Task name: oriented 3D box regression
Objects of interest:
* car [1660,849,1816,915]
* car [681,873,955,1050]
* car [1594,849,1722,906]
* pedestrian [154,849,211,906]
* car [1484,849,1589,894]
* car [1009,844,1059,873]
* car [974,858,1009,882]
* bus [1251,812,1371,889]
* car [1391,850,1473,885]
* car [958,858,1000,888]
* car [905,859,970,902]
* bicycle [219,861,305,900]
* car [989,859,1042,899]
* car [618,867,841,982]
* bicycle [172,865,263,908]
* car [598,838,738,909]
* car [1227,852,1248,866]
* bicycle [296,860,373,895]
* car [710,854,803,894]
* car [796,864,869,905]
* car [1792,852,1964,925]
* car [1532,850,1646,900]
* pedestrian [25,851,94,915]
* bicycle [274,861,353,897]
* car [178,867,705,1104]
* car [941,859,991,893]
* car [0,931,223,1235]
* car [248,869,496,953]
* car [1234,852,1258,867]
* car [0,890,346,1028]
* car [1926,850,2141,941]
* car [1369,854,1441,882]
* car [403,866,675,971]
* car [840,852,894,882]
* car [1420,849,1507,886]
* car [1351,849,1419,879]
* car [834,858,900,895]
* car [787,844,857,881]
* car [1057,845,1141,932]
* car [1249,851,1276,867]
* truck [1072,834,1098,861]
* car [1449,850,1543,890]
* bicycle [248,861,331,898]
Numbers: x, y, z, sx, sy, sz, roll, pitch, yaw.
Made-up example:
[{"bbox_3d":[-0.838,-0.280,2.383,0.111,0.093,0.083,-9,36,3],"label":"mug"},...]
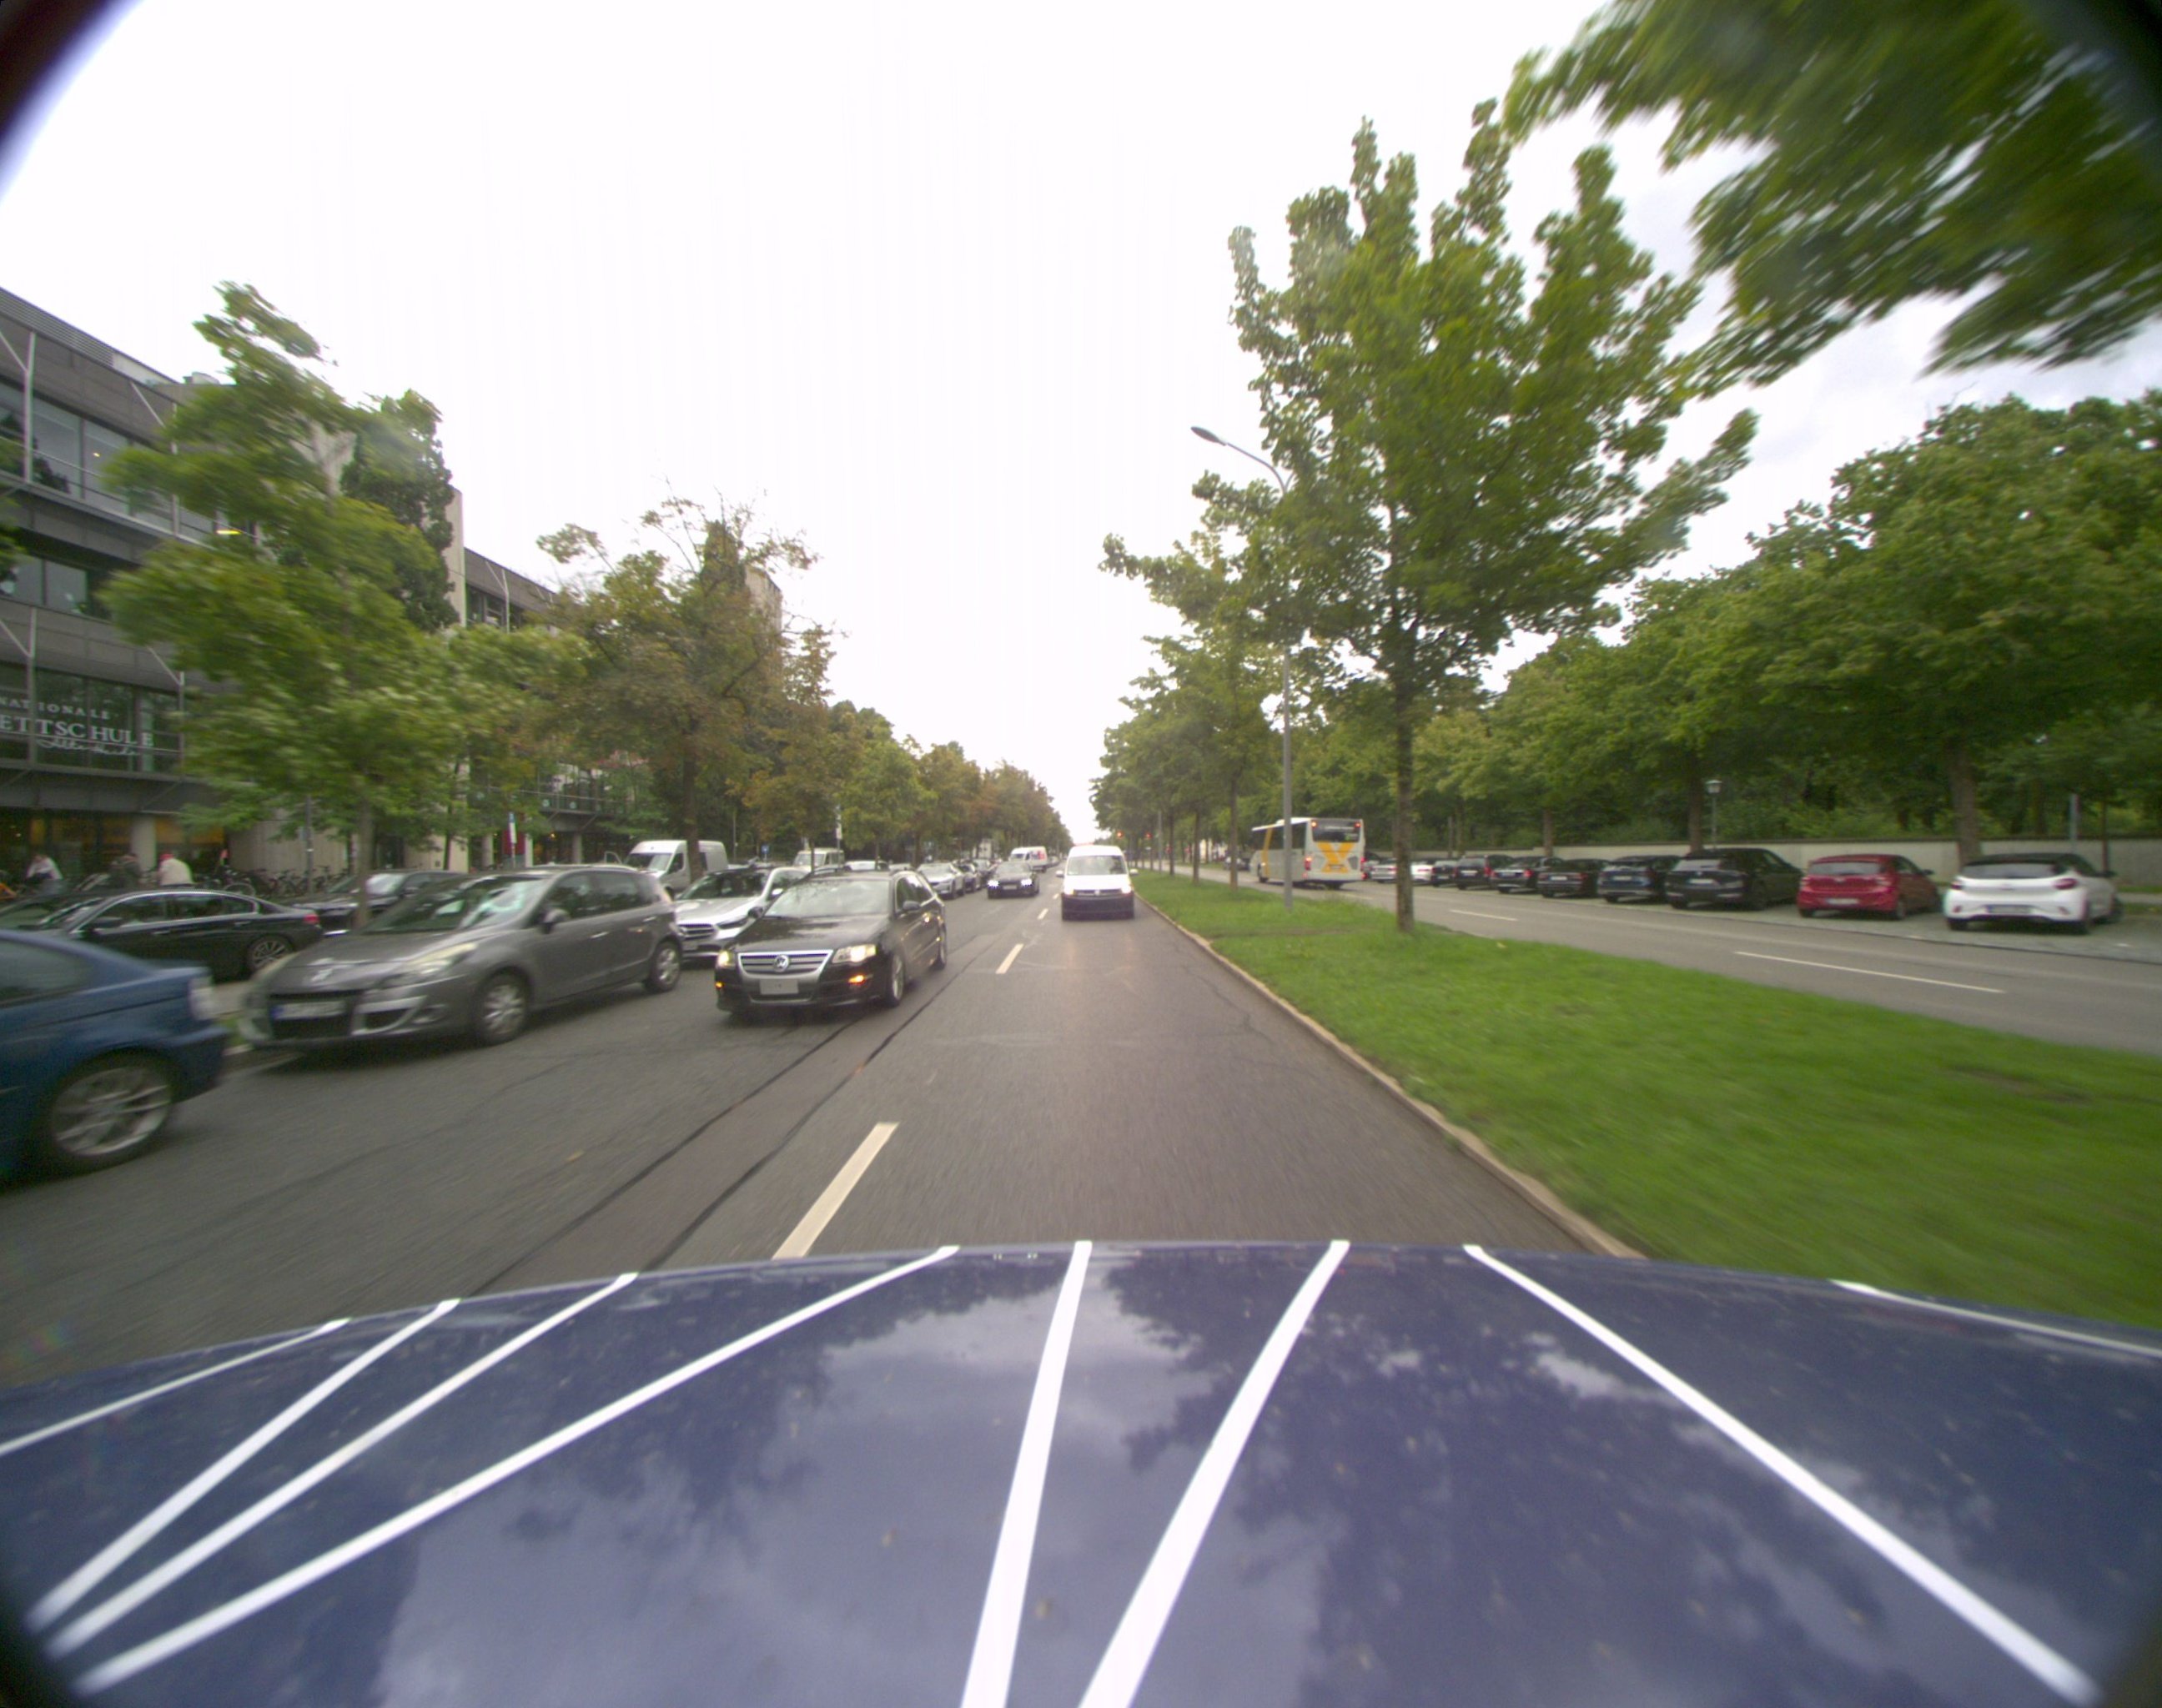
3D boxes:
[{"bbox_3d":[18.392,0.742,21.267,4.005,1.548,1.888,-3,0,-27],"label":"car"},{"bbox_3d":[-2.771,1.038,9.175,1.735,1.424,4.441,-2,0,0],"label":"car"},{"bbox_3d":[18.413,0.710,24.231,4.006,1.548,1.887,-3,0,-32],"label":"car"},{"bbox_3d":[-27.539,0.705,23.299,0.872,1.689,0.771,0,2,15],"label":"pedestrian"},{"bbox_3d":[18.253,0.671,30.419,4.006,1.548,1.887,-3,0,-32],"label":"car"},{"bbox_3d":[-4.647,0.394,76.264,1.975,2.642,6.016,-2,0,28],"label":"car"},{"bbox_3d":[-5.744,0.998,49.271,1.735,1.354,4.099,-2,0,0],"label":"car"},{"bbox_3d":[11.161,-0.226,38.521,2.676,3.279,11.925,1,1,1],"label":"bus"},{"bbox_3d":[18.232,0.689,39.433,4.006,1.548,1.887,-3,0,-32],"label":"car"},{"bbox_3d":[-5.634,1.011,42.398,1.735,1.507,4.441,-2,0,0],"label":"car"},{"bbox_3d":[-5.730,1.026,30.834,1.735,1.498,4.441,-2,0,0],"label":"car"},{"bbox_3d":[-28.542,0.919,26.489,2.313,1.294,0.649,-1,1,2],"label":"bicycle"},{"bbox_3d":[-2.578,0.951,30.956,1.763,1.405,4.462,-2,0,0],"label":"car"},{"bbox_3d":[-5.913,1.087,13.482,1.686,1.513,4.465,-4,0,2],"label":"car"},{"bbox_3d":[-28.650,1.072,25.236,2.313,1.341,0.649,-1,1,2],"label":"bicycle"},{"bbox_3d":[-16.139,0.694,30.176,2.268,2.514,5.858,-1,0,1],"label":"car"},{"bbox_3d":[17.779,0.517,86.389,1.889,1.435,4.169,-2,1,5],"label":"car"},{"bbox_3d":[-28.509,0.896,29.026,2.313,1.294,0.649,-1,1,2],"label":"bicycle"},{"bbox_3d":[-15.971,0.940,37.762,2.268,1.801,5.178,-1,0,1],"label":"car"},{"bbox_3d":[-9.868,1.187,30.473,1.720,1.424,3.446,-2,0,0],"label":"car"},{"bbox_3d":[19.174,0.770,18.271,4.005,1.446,1.736,-3,0,-27],"label":"car"},{"bbox_3d":[18.399,0.725,27.490,4.006,1.548,1.887,-3,0,-32],"label":"car"},{"bbox_3d":[-28.122,0.784,20.934,0.769,1.689,0.875,0,2,15],"label":"pedestrian"},{"bbox_3d":[-28.529,0.908,28.252,2.313,1.294,0.649,-1,1,2],"label":"bicycle"},{"bbox_3d":[-6.018,1.052,8.073,1.686,1.632,4.465,-4,0,1],"label":"car"},{"bbox_3d":[-5.473,1.020,36.719,1.735,1.424,4.441,-2,0,0],"label":"car"},{"bbox_3d":[-6.058,1.187,2.555,1.686,1.367,4.080,-2,0,-1],"label":"car"},{"bbox_3d":[-16.226,1.212,17.790,1.865,1.624,4.340,0,0,-3],"label":"car"},{"bbox_3d":[17.513,0.560,80.704,1.889,1.435,4.169,-2,1,5],"label":"car"},{"bbox_3d":[-13.236,1.334,10.518,1.726,1.371,4.352,-2,0,2],"label":"car"},{"bbox_3d":[19.091,0.759,15.222,4.005,1.455,1.888,-3,0,-27],"label":"car"},{"bbox_3d":[18.238,0.747,42.693,4.006,1.358,1.588,-2,1,-30],"label":"car"},{"bbox_3d":[-10.199,1.096,14.915,1.826,1.581,4.875,-2,0,-1],"label":"car"},{"bbox_3d":[-15.989,0.915,57.068,2.268,2.091,5.858,-1,0,1],"label":"car"},{"bbox_3d":[18.601,0.645,36.883,4.006,1.548,1.887,-3,0,-32],"label":"car"},{"bbox_3d":[18.493,0.597,46.234,4.006,1.632,1.887,-2,1,-34],"label":"car"},{"bbox_3d":[-9.912,1.016,35.524,1.826,1.534,4.054,-2,0,0],"label":"car"},{"bbox_3d":[-15.925,0.496,47.143,2.268,2.091,5.858,-1,0,1],"label":"car"},{"bbox_3d":[0.367,0.729,18.685,1.750,1.807,4.667,-2,0,0],"label":"car"},{"bbox_3d":[17.267,0.436,72.379,1.889,1.435,4.169,-2,1,5],"label":"car"},{"bbox_3d":[0.623,-0.799,95.995,3.046,3.170,9.133,-2,0,1],"label":"truck"},{"bbox_3d":[18.521,0.687,33.891,4.006,1.548,1.887,-3,0,-32],"label":"car"},{"bbox_3d":[-28.527,0.916,27.403,2.313,1.294,0.676,-1,1,2],"label":"bicycle"}]
